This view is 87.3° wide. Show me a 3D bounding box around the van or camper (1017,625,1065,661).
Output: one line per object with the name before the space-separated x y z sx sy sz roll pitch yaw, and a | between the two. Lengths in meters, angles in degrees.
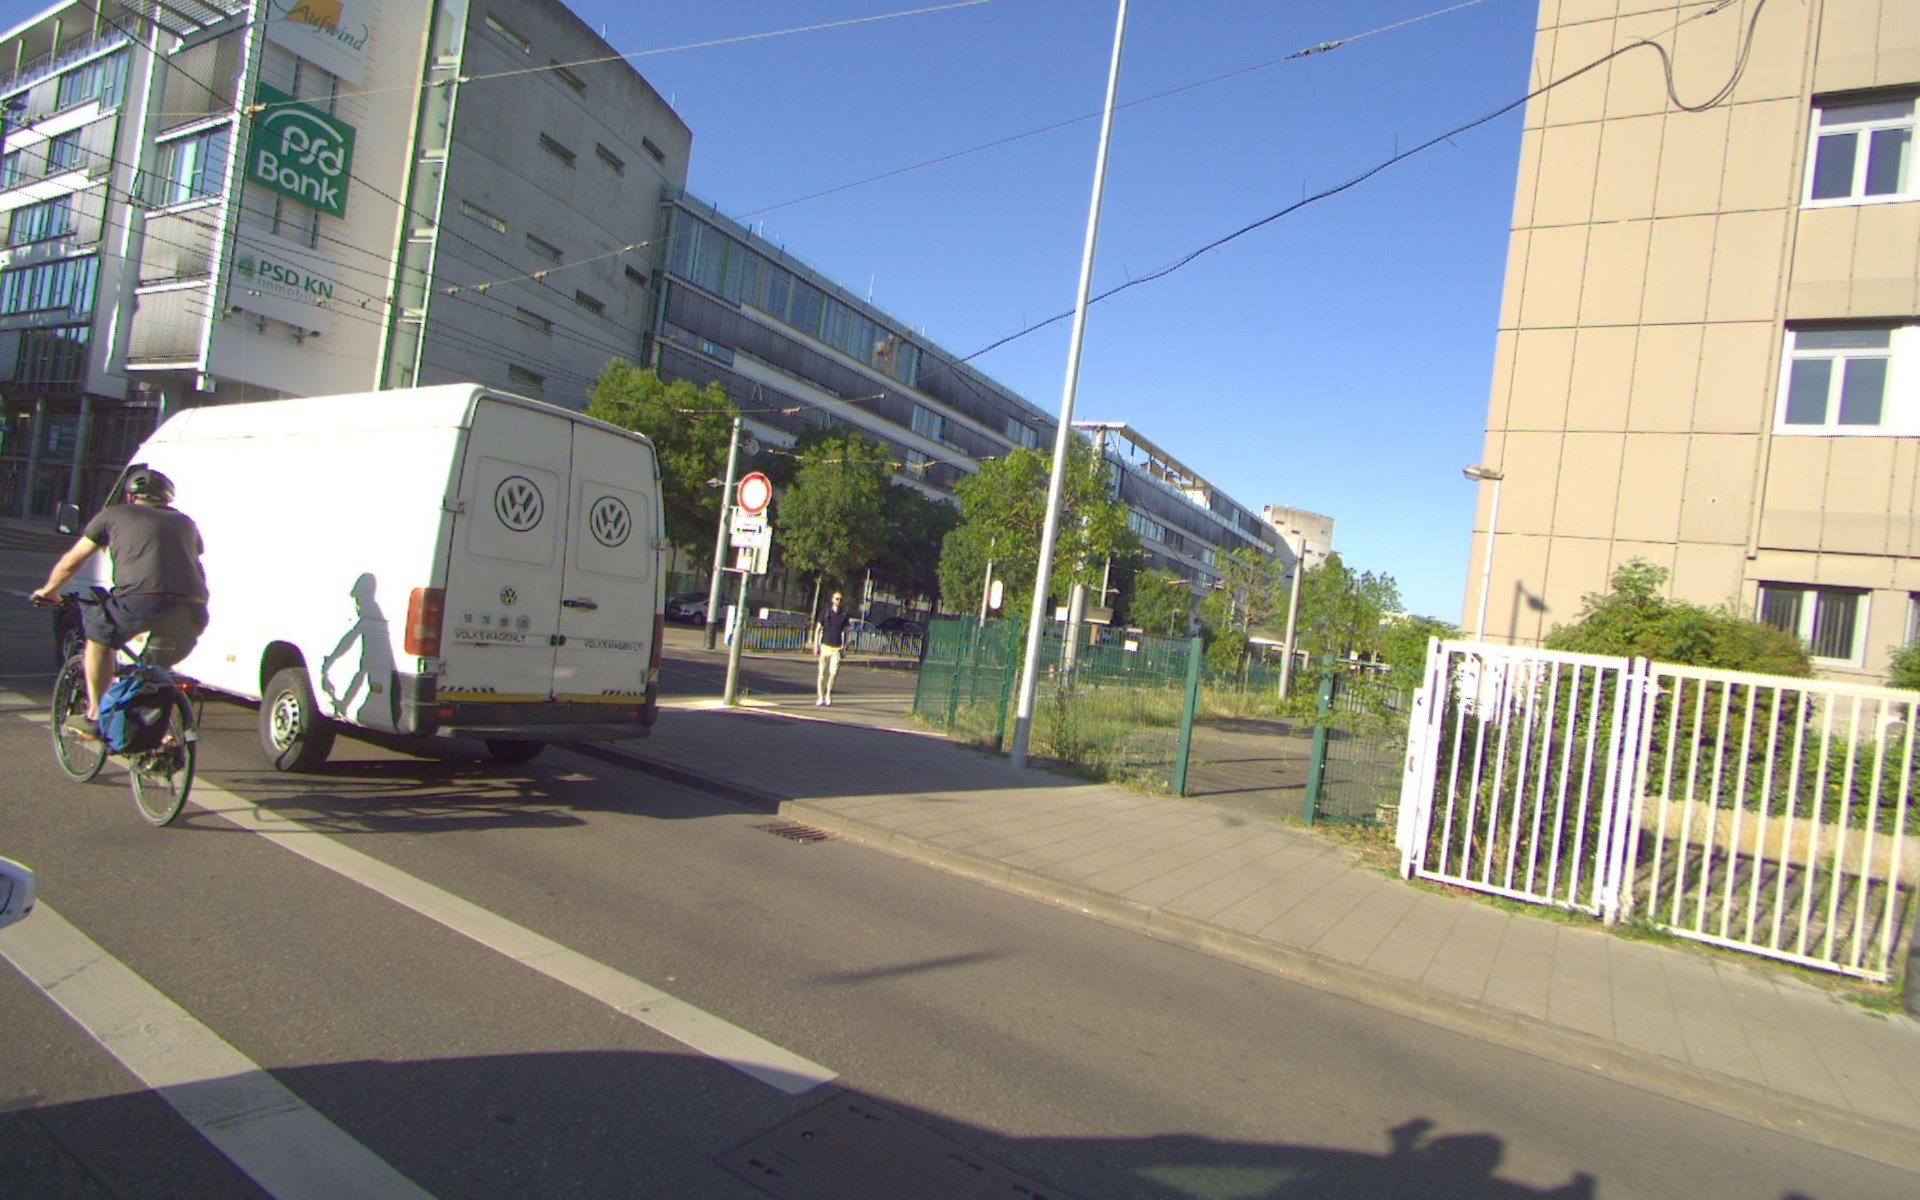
van or camper | 6.734 3.583 83.419 1.954 2.533 4.397 7 -1 30

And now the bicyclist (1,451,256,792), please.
bicyclist | -4.429 0.090 5.352 1.072 1.622 0.650 7 -1 36

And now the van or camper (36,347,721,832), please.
van or camper | -5.018 -0.264 8.180 6.203 2.746 1.972 7 -2 34

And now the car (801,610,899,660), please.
car | -4.603 1.524 42.646 1.966 1.631 3.996 7 -2 31

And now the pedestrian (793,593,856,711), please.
pedestrian | -2.278 0.860 16.827 0.725 1.833 1.080 8 -2 -12

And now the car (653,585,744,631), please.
car | -12.924 0.439 49.862 1.954 1.715 3.996 7 -2 30

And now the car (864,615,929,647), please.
car | -4.044 2.009 64.905 1.954 1.512 4.397 7 -2 30

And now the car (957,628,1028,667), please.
car | 1.778 2.557 53.541 1.966 1.620 3.996 7 -2 31

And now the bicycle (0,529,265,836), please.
bicycle | -4.553 0.367 5.389 1.936 1.296 0.650 7 -1 37

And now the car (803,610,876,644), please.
car | -7.118 1.635 59.770 1.954 1.512 4.397 7 -2 30
